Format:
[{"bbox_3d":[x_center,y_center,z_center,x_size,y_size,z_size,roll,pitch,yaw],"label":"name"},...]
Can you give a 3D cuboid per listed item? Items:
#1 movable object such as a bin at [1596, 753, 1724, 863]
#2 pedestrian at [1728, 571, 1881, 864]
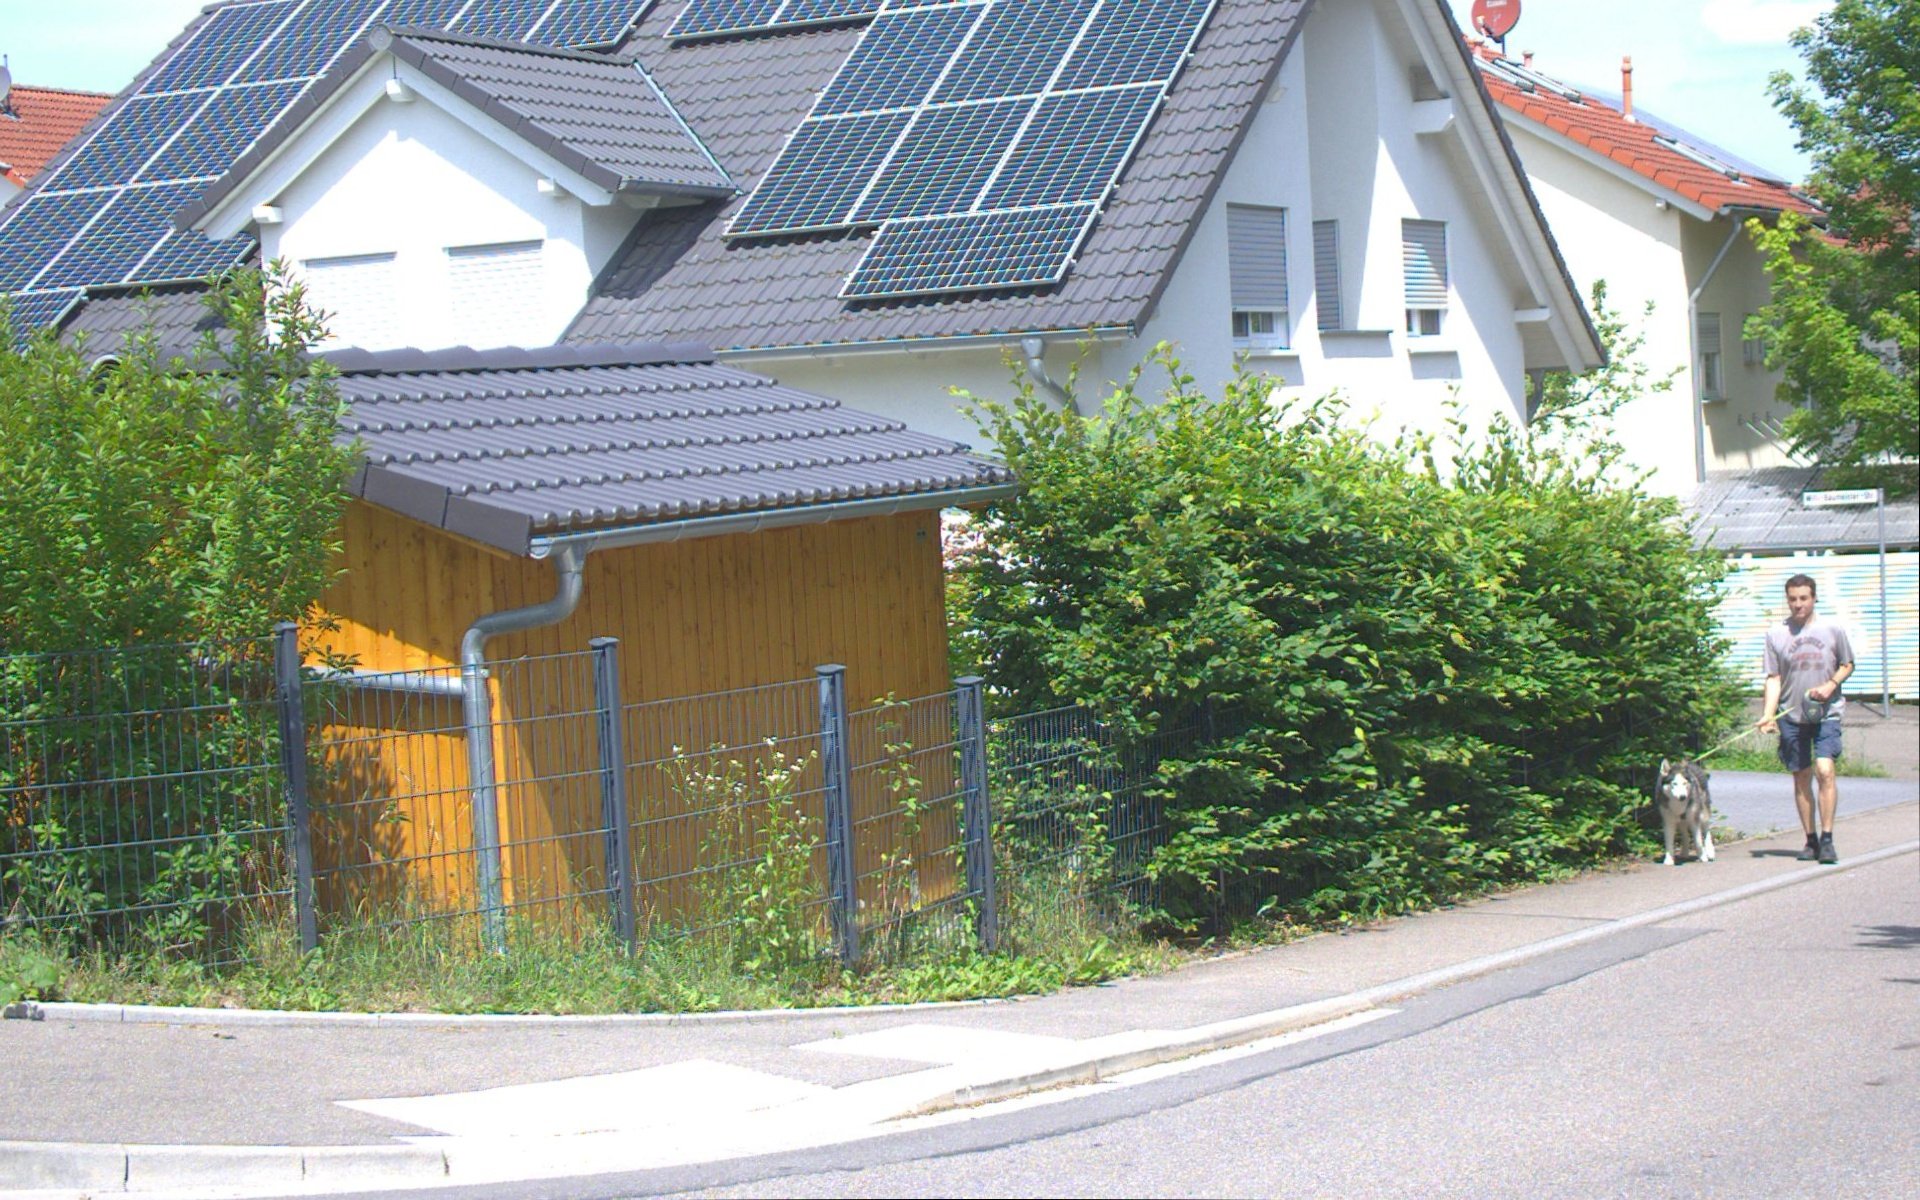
[{"bbox_3d":[4.398,1.295,21.573,0.549,0.626,1.019,0,0,26],"label":"movable object such as a bin"},{"bbox_3d":[5.366,0.736,21.826,0.847,1.813,0.834,0,-1,20],"label":"pedestrian"}]
